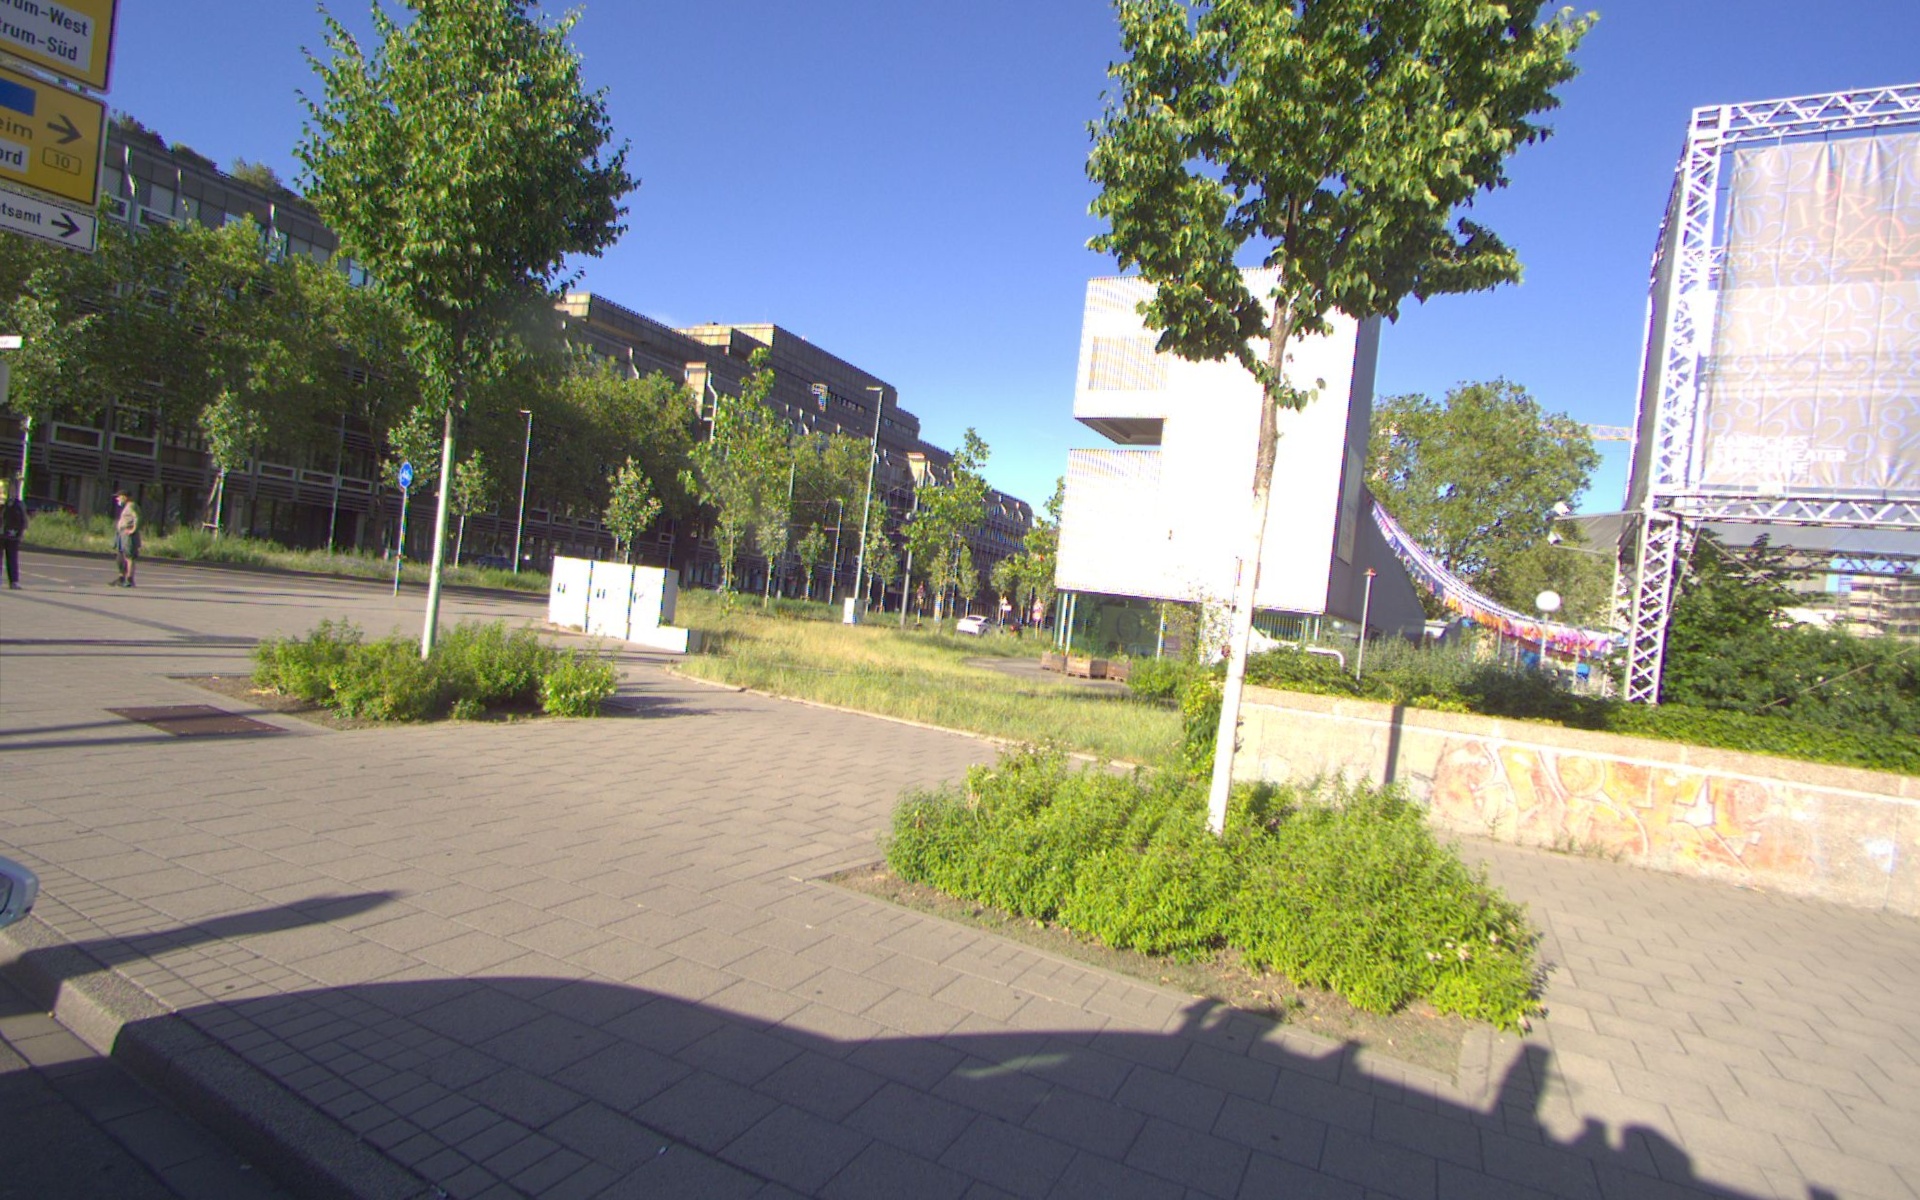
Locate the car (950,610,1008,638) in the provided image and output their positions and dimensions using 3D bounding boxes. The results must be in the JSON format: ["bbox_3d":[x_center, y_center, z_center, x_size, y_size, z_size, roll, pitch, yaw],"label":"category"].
[{"bbox_3d":[1.343,1.641,67.230,1.820,1.437,4.956,7,-1,26],"label":"car"}]

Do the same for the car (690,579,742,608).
[{"bbox_3d":[-18.416,-0.478,76.041,1.630,1.603,3.912,7,-2,25],"label":"car"}]

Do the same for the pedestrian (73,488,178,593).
[{"bbox_3d":[-14.879,-1.043,17.965,0.946,1.684,0.882,7,-1,11],"label":"pedestrian"}]

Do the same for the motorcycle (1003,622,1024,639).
[{"bbox_3d":[3.527,2.004,65.946,0.551,0.970,2.080,7,0,25],"label":"motorcycle"}]

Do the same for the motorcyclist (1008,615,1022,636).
[{"bbox_3d":[3.611,1.692,66.057,0.551,1.263,0.727,7,0,26],"label":"motorcyclist"}]

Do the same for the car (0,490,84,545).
[{"bbox_3d":[-33.279,-2.995,34.918,1.629,1.604,3.896,6,-1,24],"label":"car"}]

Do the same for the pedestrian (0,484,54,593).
[{"bbox_3d":[-14.044,-0.923,14.789,0.633,1.510,0.789,6,-1,31],"label":"pedestrian"}]
